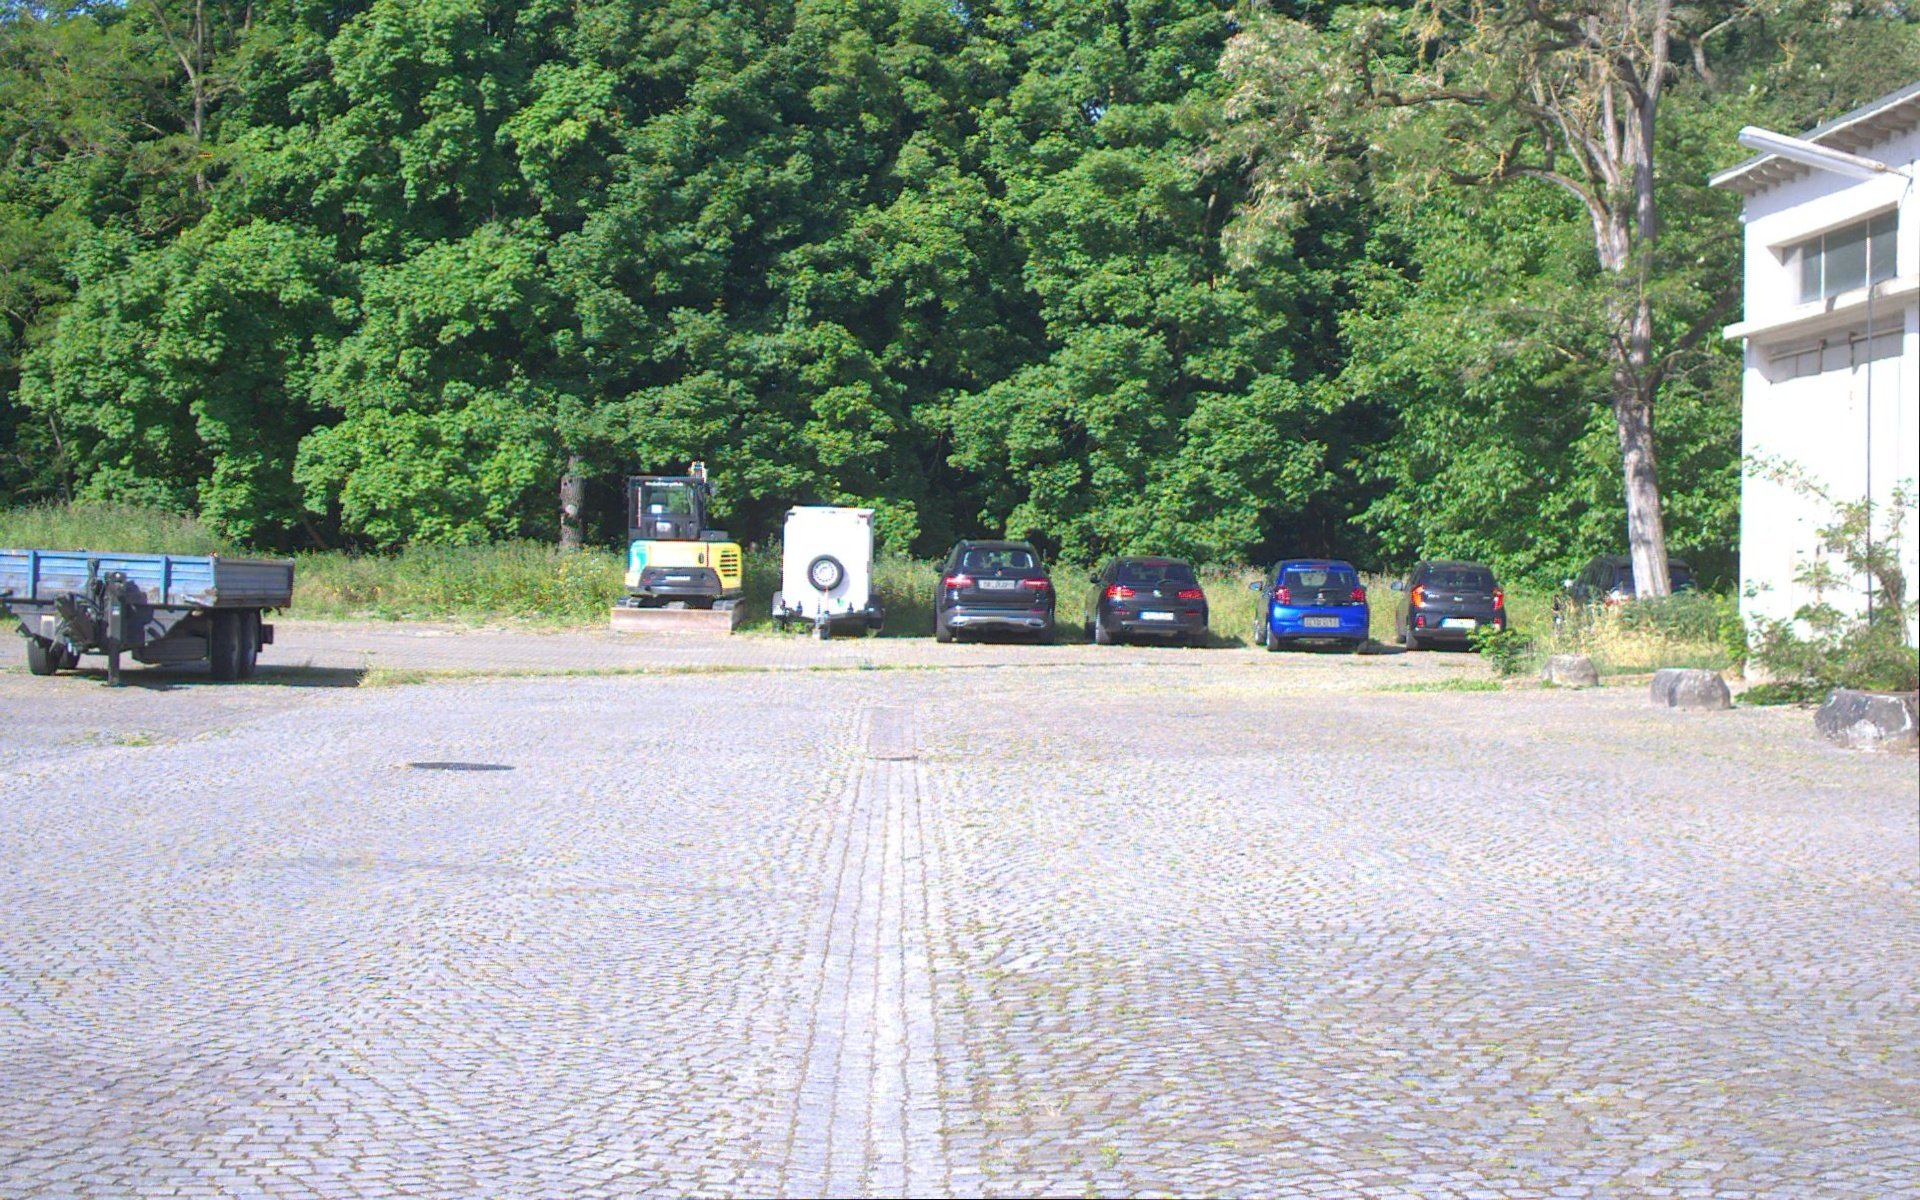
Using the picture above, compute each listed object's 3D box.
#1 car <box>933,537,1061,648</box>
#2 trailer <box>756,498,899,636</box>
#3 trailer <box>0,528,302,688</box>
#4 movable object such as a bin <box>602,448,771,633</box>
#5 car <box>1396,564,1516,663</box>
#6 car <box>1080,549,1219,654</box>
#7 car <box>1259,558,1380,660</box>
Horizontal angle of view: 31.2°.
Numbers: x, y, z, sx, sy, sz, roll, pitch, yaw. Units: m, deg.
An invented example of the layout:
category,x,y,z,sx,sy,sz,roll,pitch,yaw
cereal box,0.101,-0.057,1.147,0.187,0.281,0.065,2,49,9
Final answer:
category,x,y,z,sx,sy,sz,roll,pitch,yaw
car,0.552,-0.155,55.444,1.863,1.584,4.296,3,2,-1
trailer,-2.185,-0.615,57.791,2.193,2.087,5.752,3,2,-1
trailer,-9.061,0.018,37.635,2.705,1.460,6.248,3,1,-2
movable object such as a bin,-4.565,-1.050,58.356,2.306,2.887,5.751,3,2,0
car,8.225,0.187,57.241,1.744,1.431,4.182,3,2,6
car,3.032,-0.005,55.838,1.863,1.465,4.296,3,2,-1
car,5.799,0.111,55.806,1.744,1.431,4.182,3,2,4
